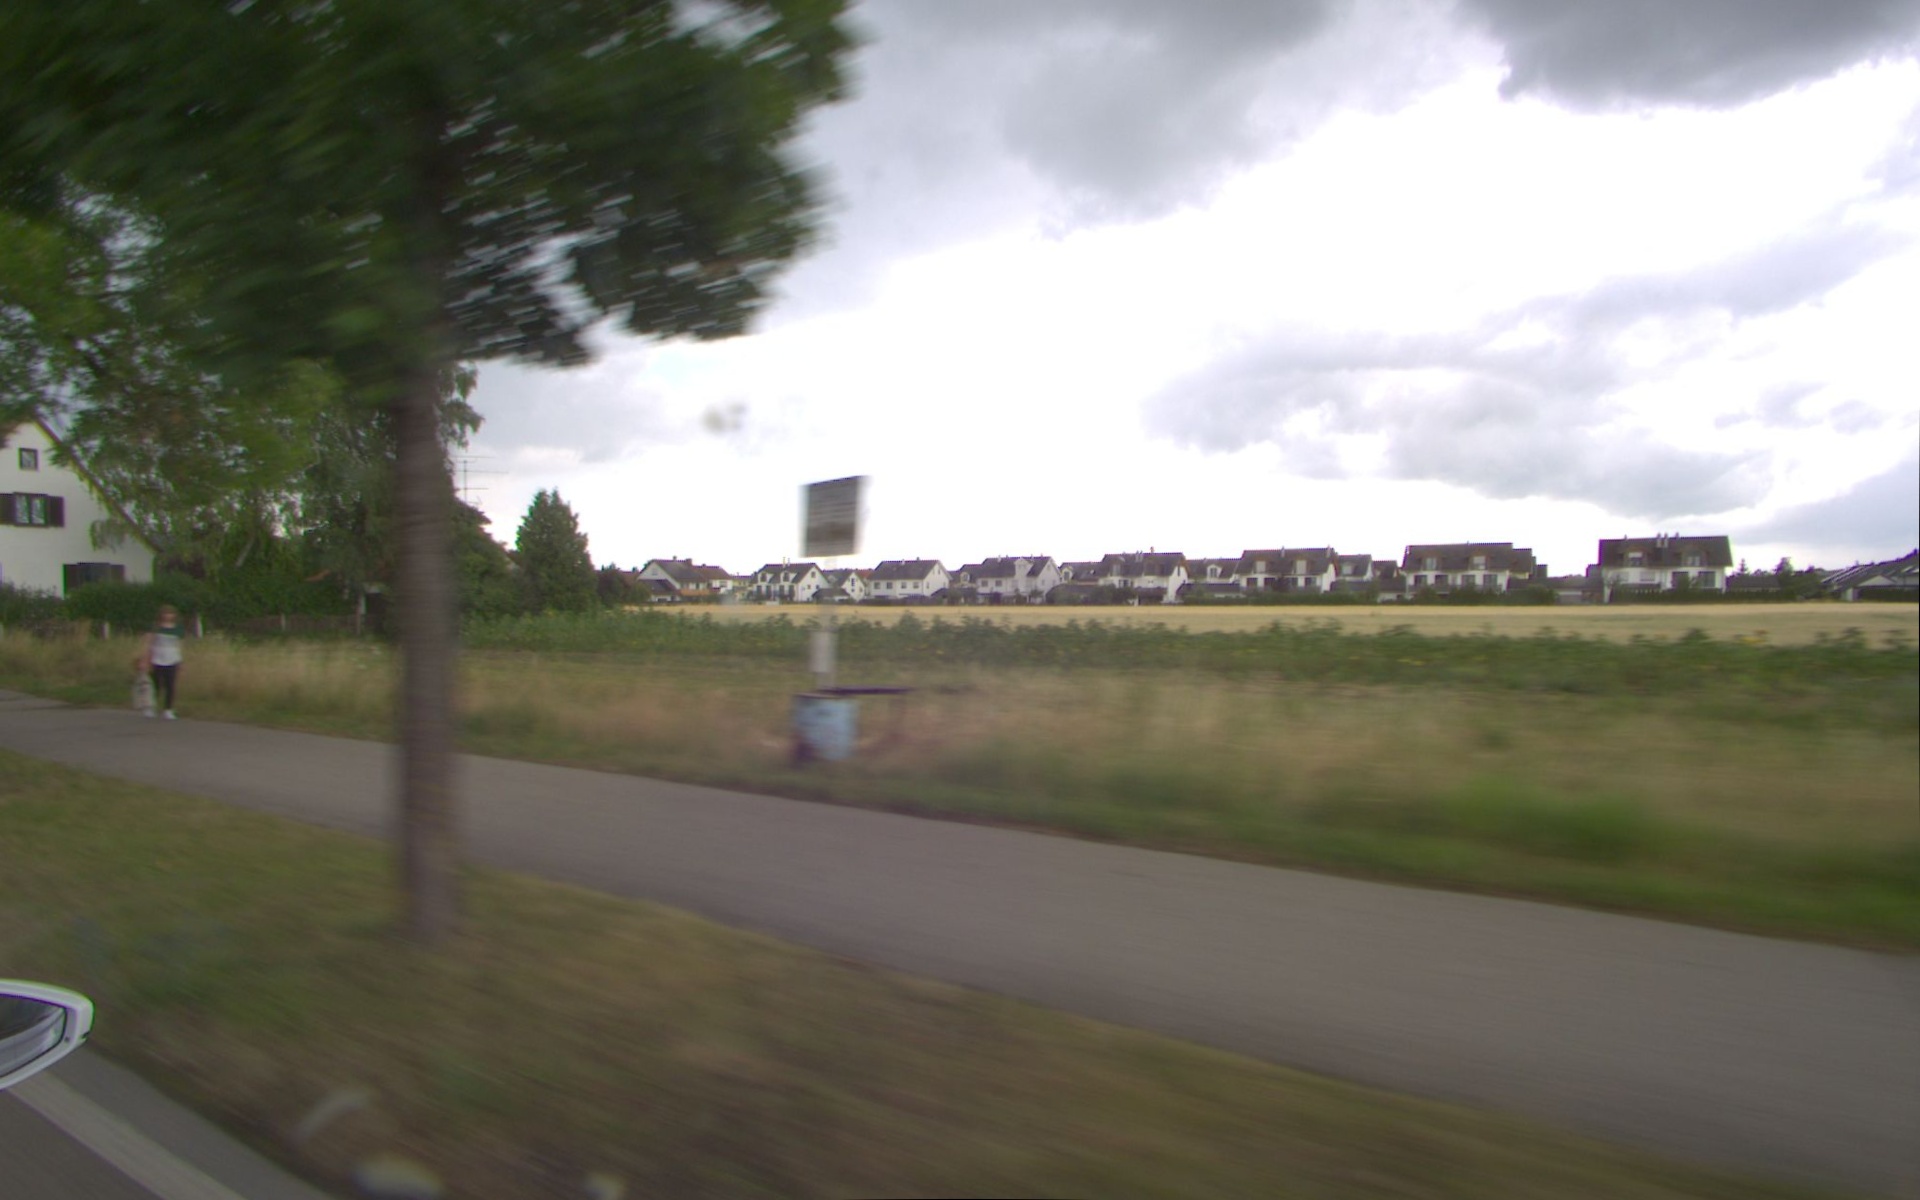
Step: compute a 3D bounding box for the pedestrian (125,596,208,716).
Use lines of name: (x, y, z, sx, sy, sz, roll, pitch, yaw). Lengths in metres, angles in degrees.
pedestrian: (-12.231, 0.839, 15.444, 0.859, 1.778, 0.834, 0, 0, 38)
